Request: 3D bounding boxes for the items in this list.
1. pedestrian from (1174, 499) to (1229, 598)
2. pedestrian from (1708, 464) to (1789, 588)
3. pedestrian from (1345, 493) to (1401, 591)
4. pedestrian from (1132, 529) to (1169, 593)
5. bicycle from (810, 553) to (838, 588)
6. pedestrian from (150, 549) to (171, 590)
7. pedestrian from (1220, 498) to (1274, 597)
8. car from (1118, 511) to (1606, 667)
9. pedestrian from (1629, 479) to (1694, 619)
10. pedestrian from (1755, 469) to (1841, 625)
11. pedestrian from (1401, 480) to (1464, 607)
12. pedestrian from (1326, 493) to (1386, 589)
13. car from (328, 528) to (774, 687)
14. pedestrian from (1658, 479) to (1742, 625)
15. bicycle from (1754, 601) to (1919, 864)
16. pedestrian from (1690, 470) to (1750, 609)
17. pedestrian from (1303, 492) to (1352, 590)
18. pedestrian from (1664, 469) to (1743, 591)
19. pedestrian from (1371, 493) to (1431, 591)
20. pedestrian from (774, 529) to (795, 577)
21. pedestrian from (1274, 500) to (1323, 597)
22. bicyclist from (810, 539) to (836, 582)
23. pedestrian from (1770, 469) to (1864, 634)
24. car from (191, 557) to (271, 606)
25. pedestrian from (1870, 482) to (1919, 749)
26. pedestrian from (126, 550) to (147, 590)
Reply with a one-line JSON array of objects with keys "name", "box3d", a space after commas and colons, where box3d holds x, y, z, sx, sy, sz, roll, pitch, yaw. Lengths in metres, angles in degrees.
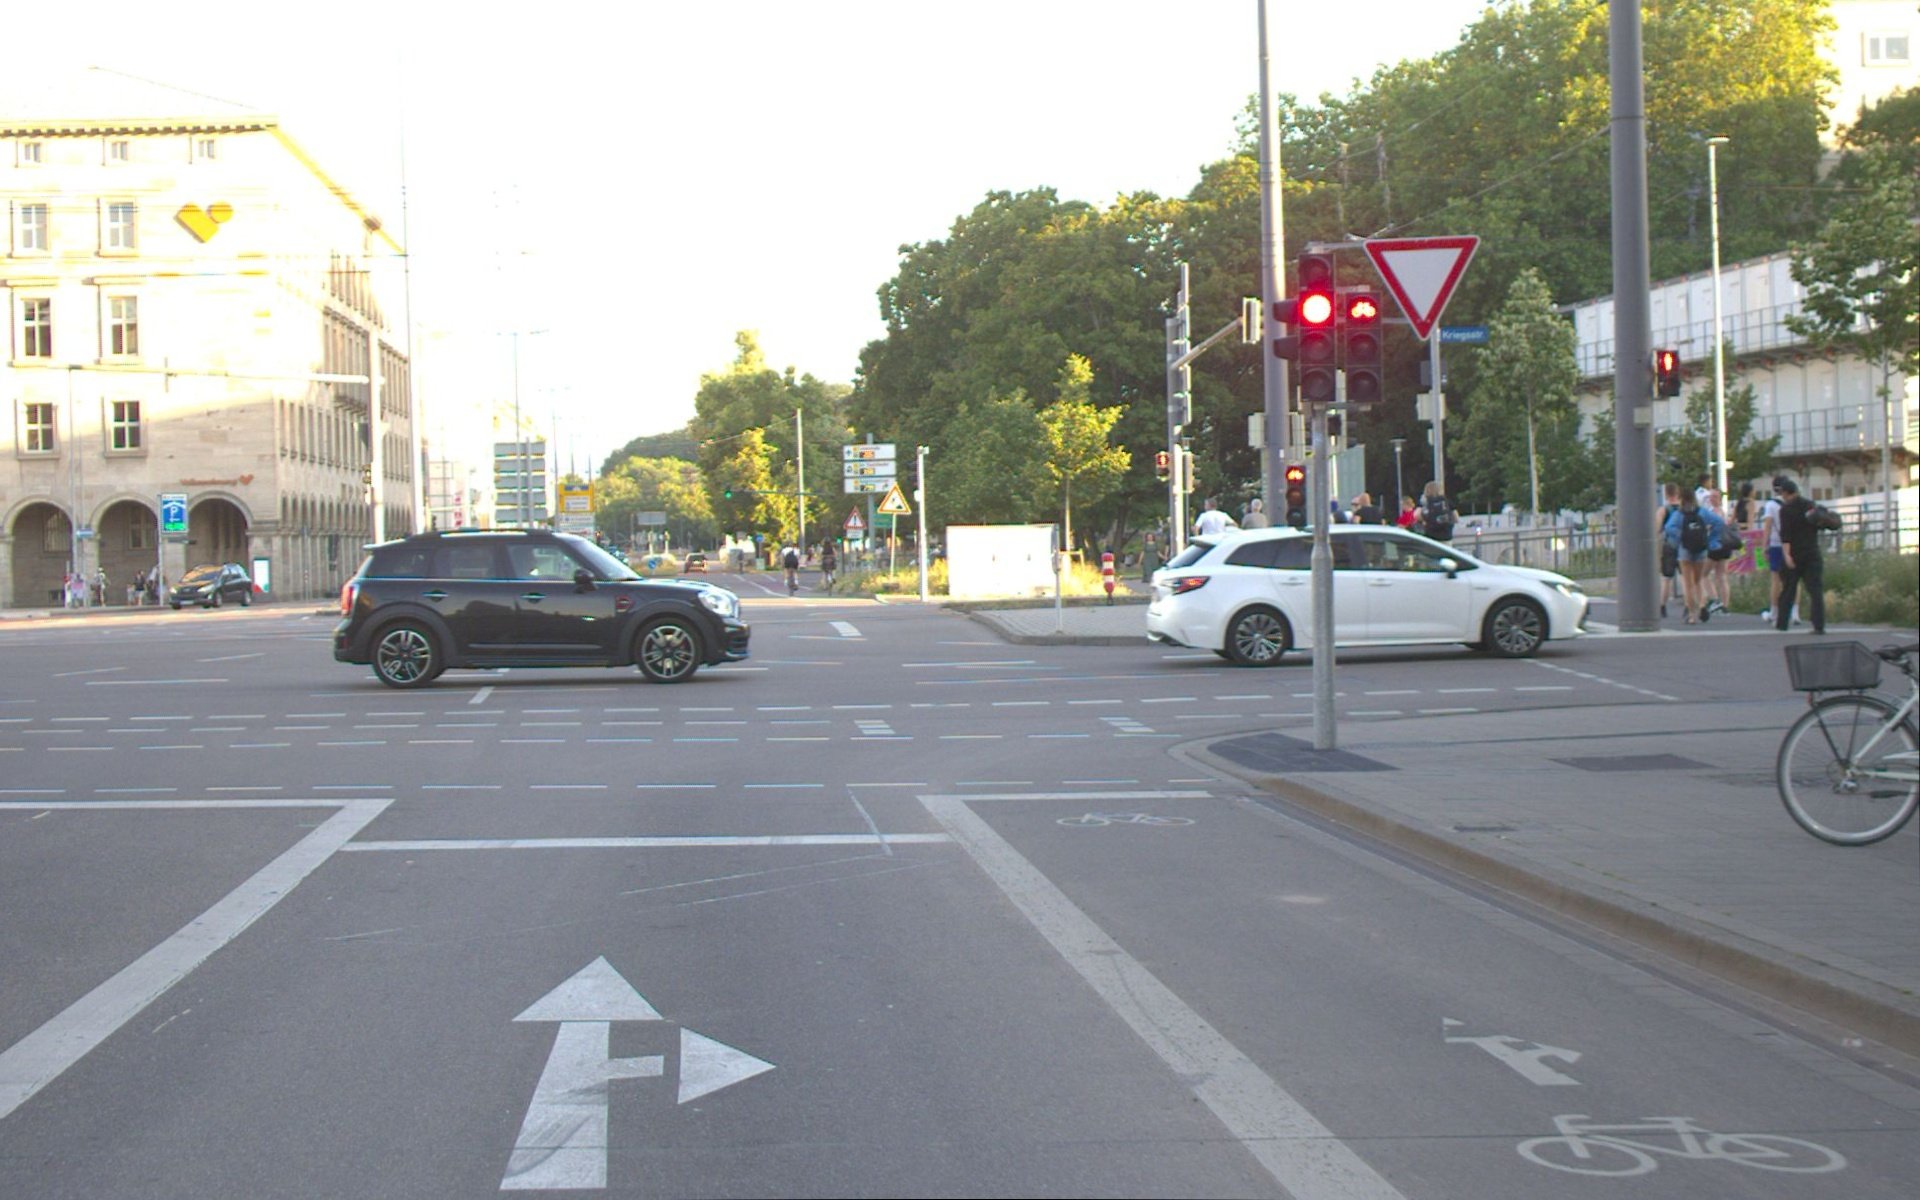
[{"name": "pedestrian", "box3d": [4.270, -0.914, 60.816, 0.808, 1.724, 0.688, -1, 1, -6]}, {"name": "pedestrian", "box3d": [11.103, -1.044, 48.433, 0.686, 1.724, 0.838, -2, 2, -42]}, {"name": "pedestrian", "box3d": [7.342, -1.031, 61.129, 0.808, 1.724, 0.688, -1, 1, -5]}, {"name": "pedestrian", "box3d": [5.177, -1.065, 93.483, 0.808, 1.724, 0.929, -1, 1, -6]}, {"name": "bicycle", "box3d": [-3.946, -0.854, 99.752, 0.651, 0.967, 1.485, -2, 1, -8]}, {"name": "pedestrian", "box3d": [-31.413, -1.199, 135.122, 0.633, 1.562, 0.775, -1, 1, -3]}, {"name": "pedestrian", "box3d": [5.085, -0.939, 60.942, 0.808, 1.724, 0.688, -1, 1, -6]}, {"name": "car", "box3d": [4.216, -0.141, 36.554, 4.796, 1.490, 2.128, -2, 1, -5]}, {"name": "pedestrian", "box3d": [8.761, -0.639, 42.942, 0.686, 1.724, 0.895, -1, 1, 6]}, {"name": "pedestrian", "box3d": [10.035, -0.635, 41.187, 0.893, 1.834, 0.688, -1, 1, 7]}, {"name": "pedestrian", "box3d": [6.516, -0.781, 47.429, 0.692, 1.724, 0.741, -1, 1, -3]}, {"name": "pedestrian", "box3d": [7.223, -1.082, 62.675, 0.686, 1.724, 0.810, -2, 1, -37]}, {"name": "car", "box3d": [-4.222, 0.045, 35.894, 4.460, 1.490, 2.128, -2, 1, -5]}, {"name": "pedestrian", "box3d": [8.936, -0.584, 41.523, 0.893, 1.724, 0.688, -1, 1, 7]}, {"name": "bicycle", "box3d": [4.706, 0.613, 16.241, 1.818, 1.208, 0.570, -1, 1, 11]}, {"name": "pedestrian", "box3d": [9.611, -0.767, 43.474, 0.686, 1.724, 0.895, -1, 1, 14]}, {"name": "pedestrian", "box3d": [6.547, -1.054, 61.177, 0.808, 1.724, 0.688, -1, 1, 8]}, {"name": "pedestrian", "box3d": [10.636, -1.003, 49.159, 0.838, 1.724, 0.686, 0, 2, 44]}, {"name": "pedestrian", "box3d": [7.926, -1.042, 61.771, 0.685, 1.724, 0.811, -2, 1, -30]}, {"name": "pedestrian", "box3d": [-4.995, -1.337, 97.808, 0.522, 1.369, 0.688, -2, 1, -8]}, {"name": "pedestrian", "box3d": [6.095, -0.932, 61.900, 0.808, 1.724, 0.688, -1, 1, 8]}, {"name": "bicyclist", "box3d": [-3.970, -1.151, 99.725, 0.651, 1.219, 0.861, -2, 1, -8]}, {"name": "pedestrian", "box3d": [9.640, -0.547, 38.695, 0.893, 1.824, 0.688, -1, 1, 4]}, {"name": "car", "box3d": [-26.599, -0.679, 125.623, 1.993, 1.656, 4.000, -1, 1, 1]}, {"name": "pedestrian", "box3d": [6.759, 0.075, 23.292, 0.860, 1.770, 0.741, -4, 1, -3]}, {"name": "pedestrian", "box3d": [-32.227, -1.173, 134.533, 0.633, 1.562, 0.775, -1, 1, -3]}]
